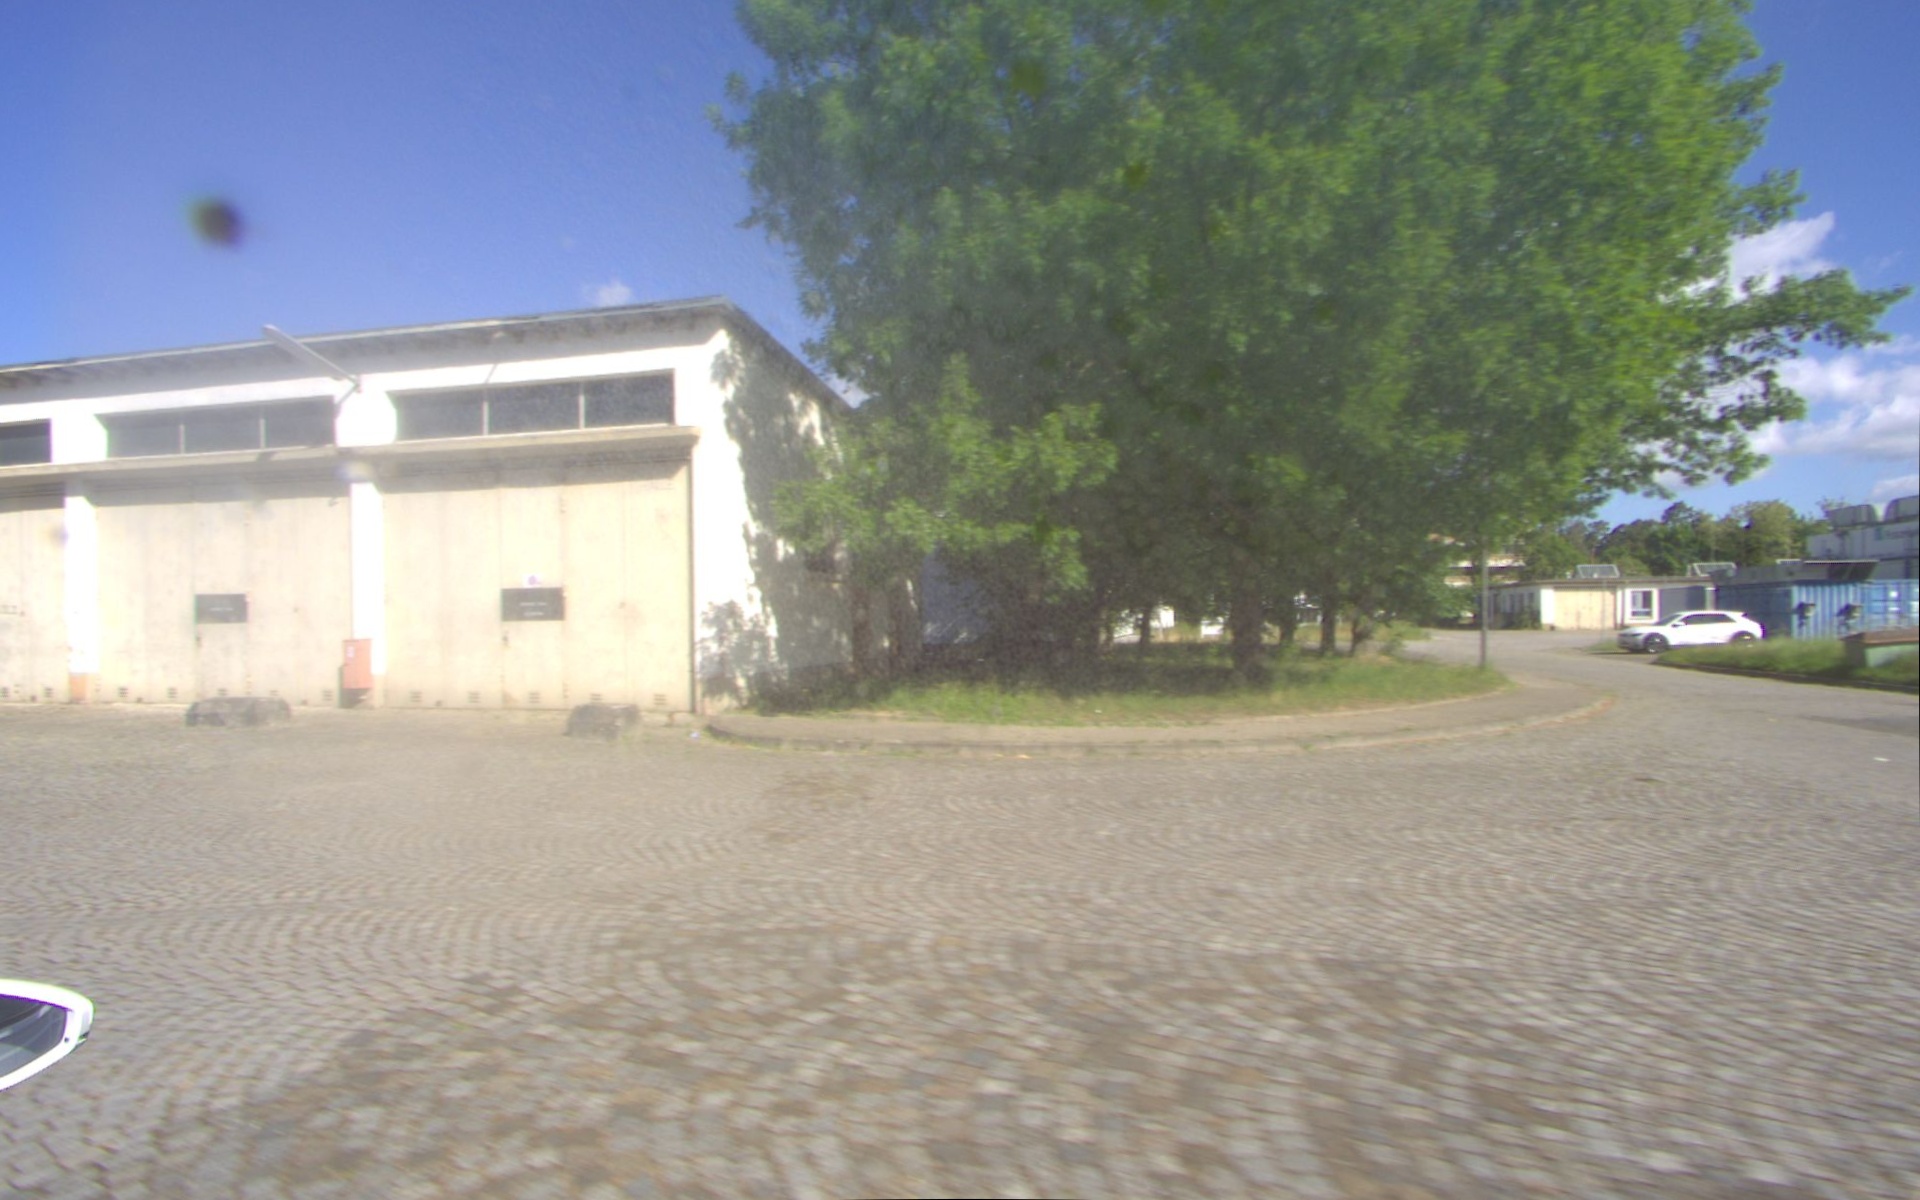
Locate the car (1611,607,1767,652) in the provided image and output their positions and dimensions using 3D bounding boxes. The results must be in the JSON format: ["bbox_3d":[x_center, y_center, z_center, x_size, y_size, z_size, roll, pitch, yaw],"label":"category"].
[{"bbox_3d":[28.133,1.138,38.818,4.435,1.669,1.998,-1,-1,13],"label":"car"}]
